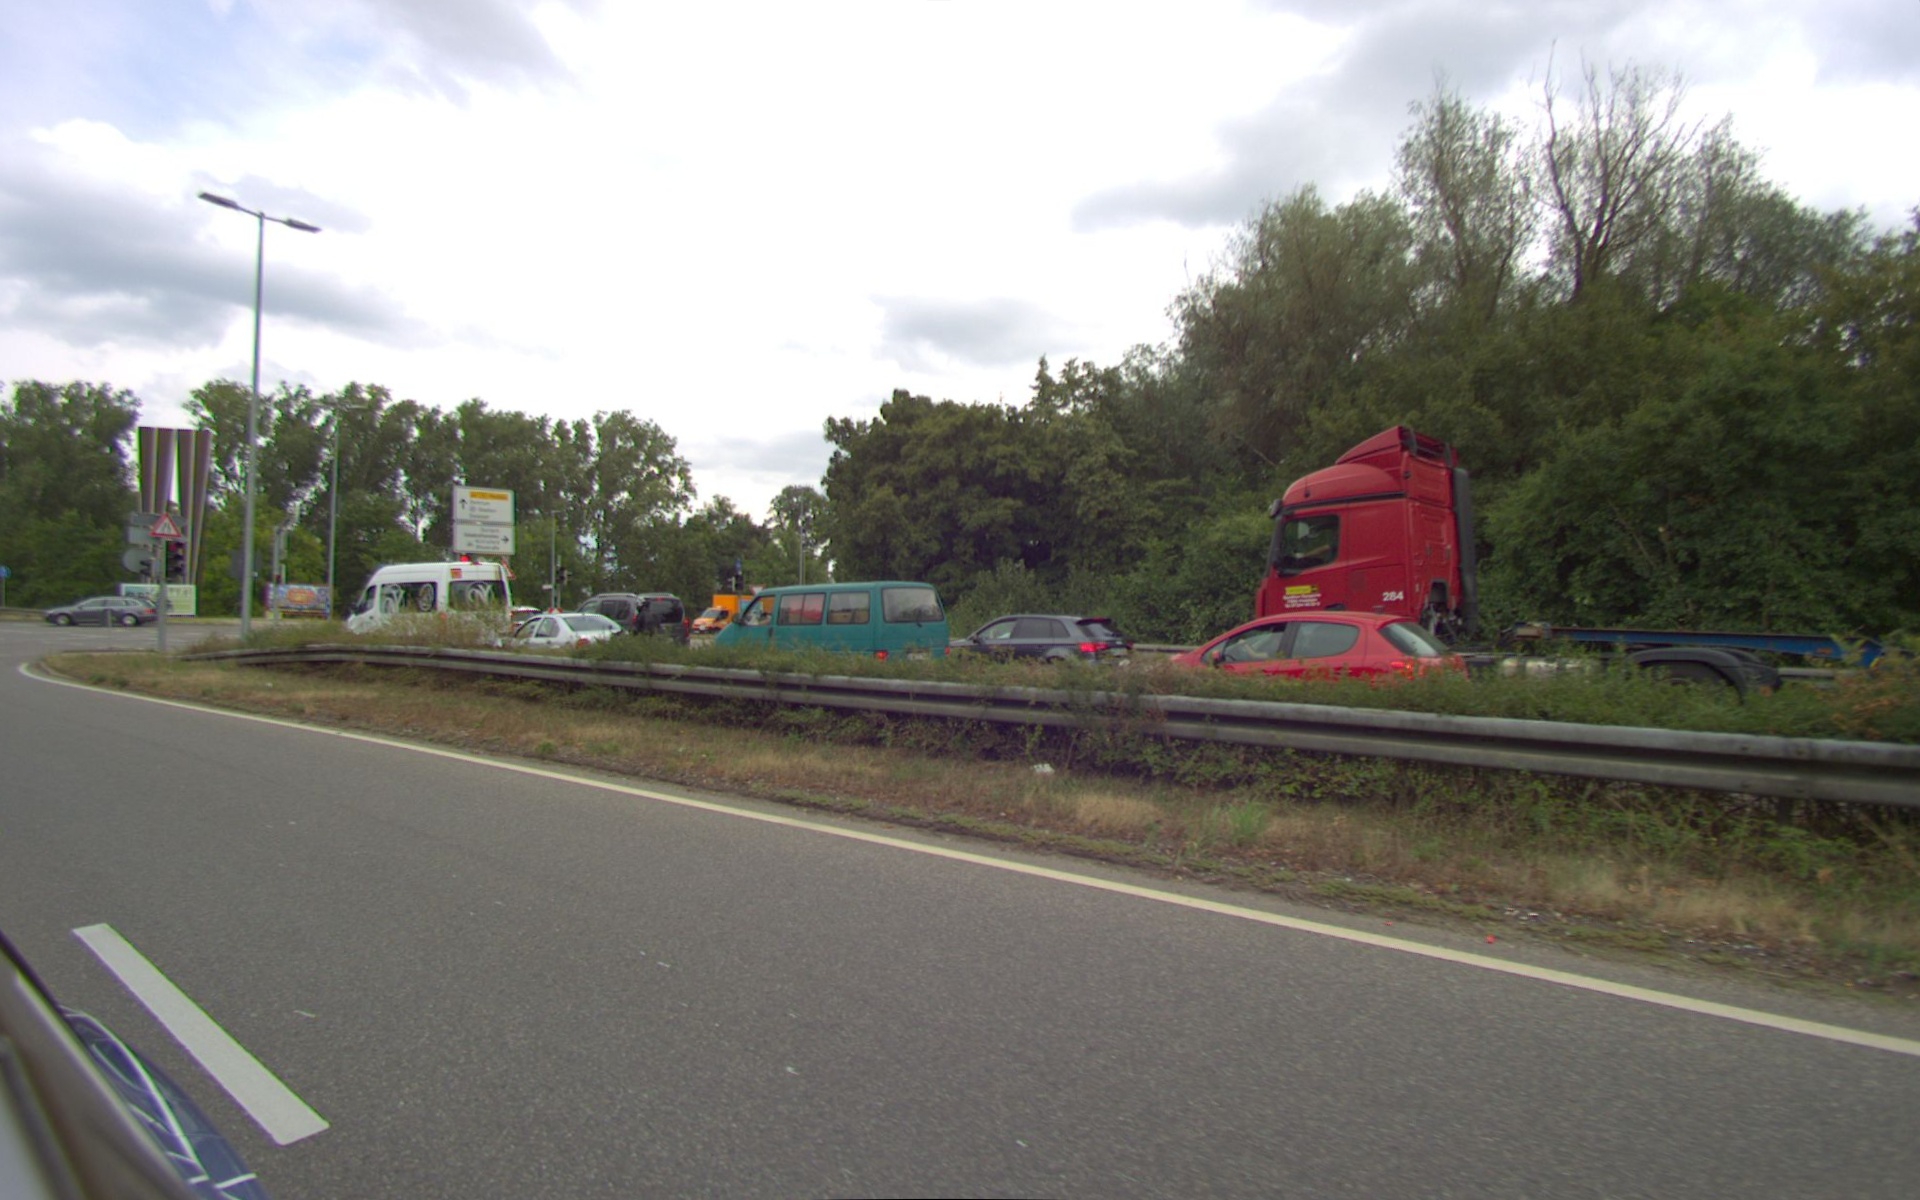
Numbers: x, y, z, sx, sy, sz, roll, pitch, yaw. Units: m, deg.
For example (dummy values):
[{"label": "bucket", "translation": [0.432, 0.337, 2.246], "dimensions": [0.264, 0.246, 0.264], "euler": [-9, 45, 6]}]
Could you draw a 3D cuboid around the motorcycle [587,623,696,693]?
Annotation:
[{"label": "motorcycle", "translation": [-6.189, 1.081, 19.615], "dimensions": [2.322, 1.234, 0.792], "euler": [0, 0, 37]}]

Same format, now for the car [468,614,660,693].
[{"label": "car", "translation": [-8.825, 1.107, 22.417], "dimensions": [4.393, 1.510, 1.975], "euler": [0, 0, 38]}]

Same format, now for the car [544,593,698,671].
[{"label": "car", "translation": [-9.049, 0.788, 26.898], "dimensions": [4.162, 1.916, 1.974], "euler": [0, 0, 39]}]

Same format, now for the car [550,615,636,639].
[{"label": "car", "translation": [-21.807, 1.575, 60.274], "dimensions": [1.994, 1.320, 4.523], "euler": [0, 0, 33]}]

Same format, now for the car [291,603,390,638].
[{"label": "car", "translation": [-33.949, 1.105, 55.550], "dimensions": [1.924, 1.796, 4.205], "euler": [0, 0, 36]}]

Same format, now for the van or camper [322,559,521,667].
[{"label": "van or camper", "translation": [-14.582, 0.314, 27.222], "dimensions": [6.483, 2.608, 2.141], "euler": [0, 0, 36]}]

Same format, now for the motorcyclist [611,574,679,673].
[{"label": "motorcyclist", "translation": [-6.055, 0.440, 19.479], "dimensions": [0.924, 1.837, 0.857], "euler": [0, -1, 37]}]

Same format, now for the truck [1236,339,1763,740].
[{"label": "truck", "translation": [6.807, -0.623, 13.250], "dimensions": [5.624, 4.114, 2.540], "euler": [0, -1, 44]}]

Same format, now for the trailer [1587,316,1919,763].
[{"label": "trailer", "translation": [11.777, -0.545, 8.541], "dimensions": [10.773, 4.178, 2.507], "euler": [0, -1, 43]}]

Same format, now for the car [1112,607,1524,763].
[{"label": "car", "translation": [3.991, 0.826, 11.686], "dimensions": [4.125, 1.443, 1.785], "euler": [0, 0, 42]}]

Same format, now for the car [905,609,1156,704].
[{"label": "car", "translation": [1.198, 0.934, 18.288], "dimensions": [4.274, 1.477, 1.786], "euler": [0, 0, 39]}]

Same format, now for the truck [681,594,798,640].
[{"label": "truck", "translation": [-16.183, 1.223, 75.126], "dimensions": [2.962, 3.159, 9.176], "euler": [0, 0, 32]}]

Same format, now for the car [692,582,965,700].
[{"label": "car", "translation": [-2.367, 0.599, 17.263], "dimensions": [4.958, 1.742, 1.785], "euler": [0, 0, 41]}]

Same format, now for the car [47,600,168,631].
[{"label": "car", "translation": [-42.232, 0.770, 50.272], "dimensions": [4.302, 1.500, 2.006], "euler": [1, 0, -30]}]
